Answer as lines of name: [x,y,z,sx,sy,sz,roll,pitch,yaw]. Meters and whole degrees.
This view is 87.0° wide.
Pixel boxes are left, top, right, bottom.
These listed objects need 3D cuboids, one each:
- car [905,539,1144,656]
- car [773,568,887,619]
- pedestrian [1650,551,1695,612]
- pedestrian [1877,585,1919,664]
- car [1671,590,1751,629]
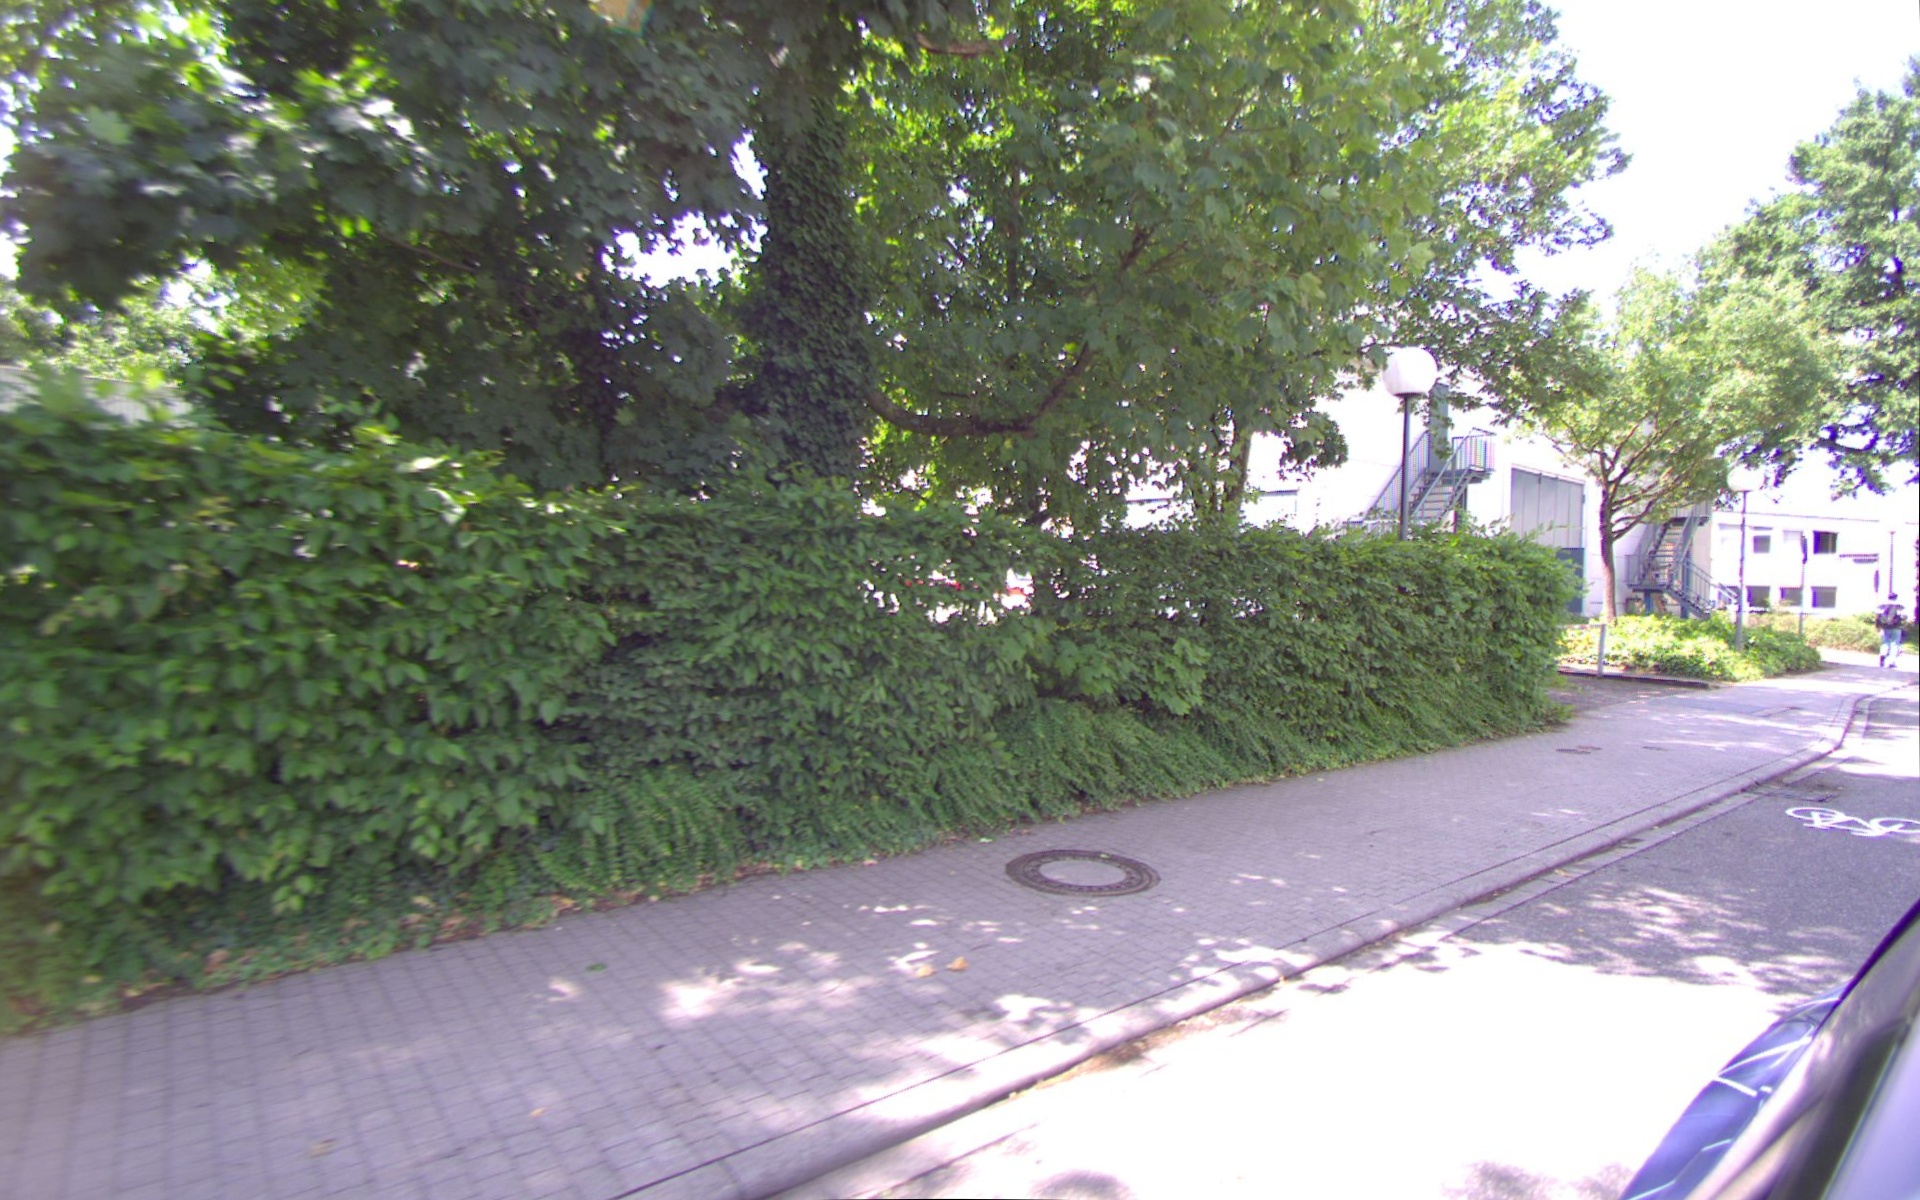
car: [1.134,-0.116,20.095,2.024,2.039,4.839,1,1,-38]
car: [-4.379,-0.268,33.684,1.964,1.562,4.092,-1,3,-38]
pedestrian: [24.405,-0.625,34.663,0.931,2.039,0.930,1,1,-35]
pedestrian: [21.080,0.533,22.615,1.235,1.695,0.740,1,1,-42]
car: [30.959,0.372,41.703,4.106,1.495,1.671,1,1,-39]
